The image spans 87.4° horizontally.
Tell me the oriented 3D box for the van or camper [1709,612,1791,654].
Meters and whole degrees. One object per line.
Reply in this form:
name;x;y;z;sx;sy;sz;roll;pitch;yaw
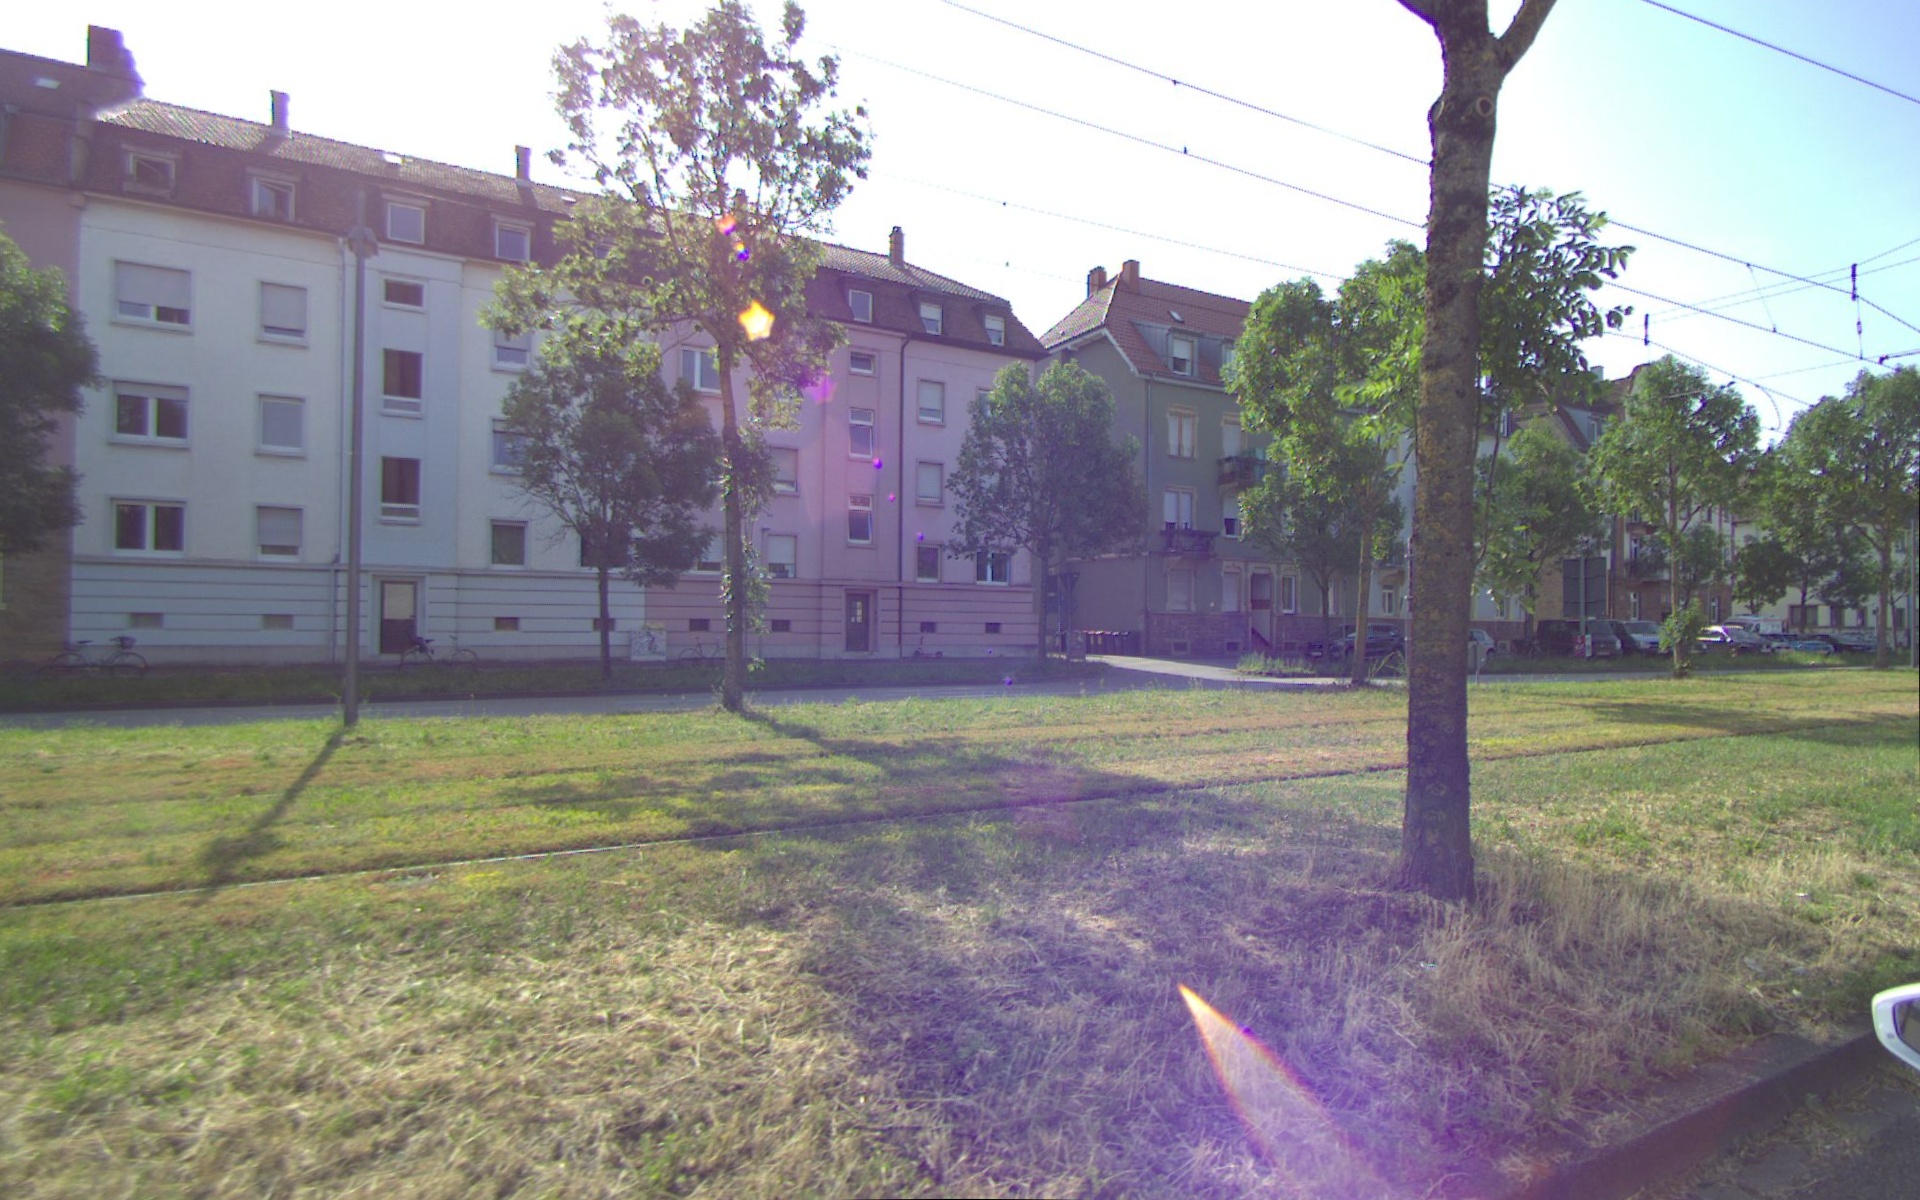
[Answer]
van or camper;52.185;2.181;66.316;6.282;2.601;2.029;2;1;-30

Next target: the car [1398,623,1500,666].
car;20.889;1.882;42.899;4.106;1.650;1.881;1;1;-29

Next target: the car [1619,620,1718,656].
car;33.105;1.742;47.118;1.935;1.438;4.479;2;1;8

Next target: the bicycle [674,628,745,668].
bicycle;-7.464;1.439;29.958;1.925;1.143;0.601;2;1;-31

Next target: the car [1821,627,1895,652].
car;50.680;2.224;56.755;1.467;1.176;3.165;2;1;3

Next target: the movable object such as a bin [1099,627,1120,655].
movable object such as a bin;6.691;1.845;44.946;0.633;1.227;0.582;2;1;-30

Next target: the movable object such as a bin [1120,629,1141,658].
movable object such as a bin;7.416;1.883;43.798;0.633;1.227;0.582;2;1;-30

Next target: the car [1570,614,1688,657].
car;30.562;1.578;46.114;2.016;1.645;5.223;2;1;2

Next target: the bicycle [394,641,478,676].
bicycle;-13.686;1.524;26.267;1.925;0.868;0.445;2;1;-31

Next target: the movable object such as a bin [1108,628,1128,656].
movable object such as a bin;6.980;1.861;44.391;0.633;1.227;0.582;2;1;-30

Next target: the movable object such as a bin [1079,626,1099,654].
movable object such as a bin;5.927;1.822;46.056;0.633;1.227;0.582;2;1;-30

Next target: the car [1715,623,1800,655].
car;41.990;2.030;52.973;1.545;1.436;4.002;2;1;6

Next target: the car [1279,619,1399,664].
car;15.245;1.641;40.359;4.720;1.650;1.983;1;1;-31

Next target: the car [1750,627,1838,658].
car;44.271;2.231;53.429;1.545;1.436;4.001;2;1;4

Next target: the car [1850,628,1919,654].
car;54.176;2.365;58.815;1.467;1.344;3.166;2;1;5

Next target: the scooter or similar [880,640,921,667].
scooter or similar;-1.955;1.744;32.882;1.202;0.823;0.603;2;1;-19

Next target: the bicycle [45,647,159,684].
bicycle;-19.694;1.507;23.098;1.925;0.799;0.435;2;1;-31

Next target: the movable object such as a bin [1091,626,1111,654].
movable object such as a bin;6.387;1.828;45.470;0.633;1.227;0.582;2;1;-30

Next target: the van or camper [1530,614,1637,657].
van or camper;27.884;1.551;45.140;1.962;1.645;4.852;2;1;4
